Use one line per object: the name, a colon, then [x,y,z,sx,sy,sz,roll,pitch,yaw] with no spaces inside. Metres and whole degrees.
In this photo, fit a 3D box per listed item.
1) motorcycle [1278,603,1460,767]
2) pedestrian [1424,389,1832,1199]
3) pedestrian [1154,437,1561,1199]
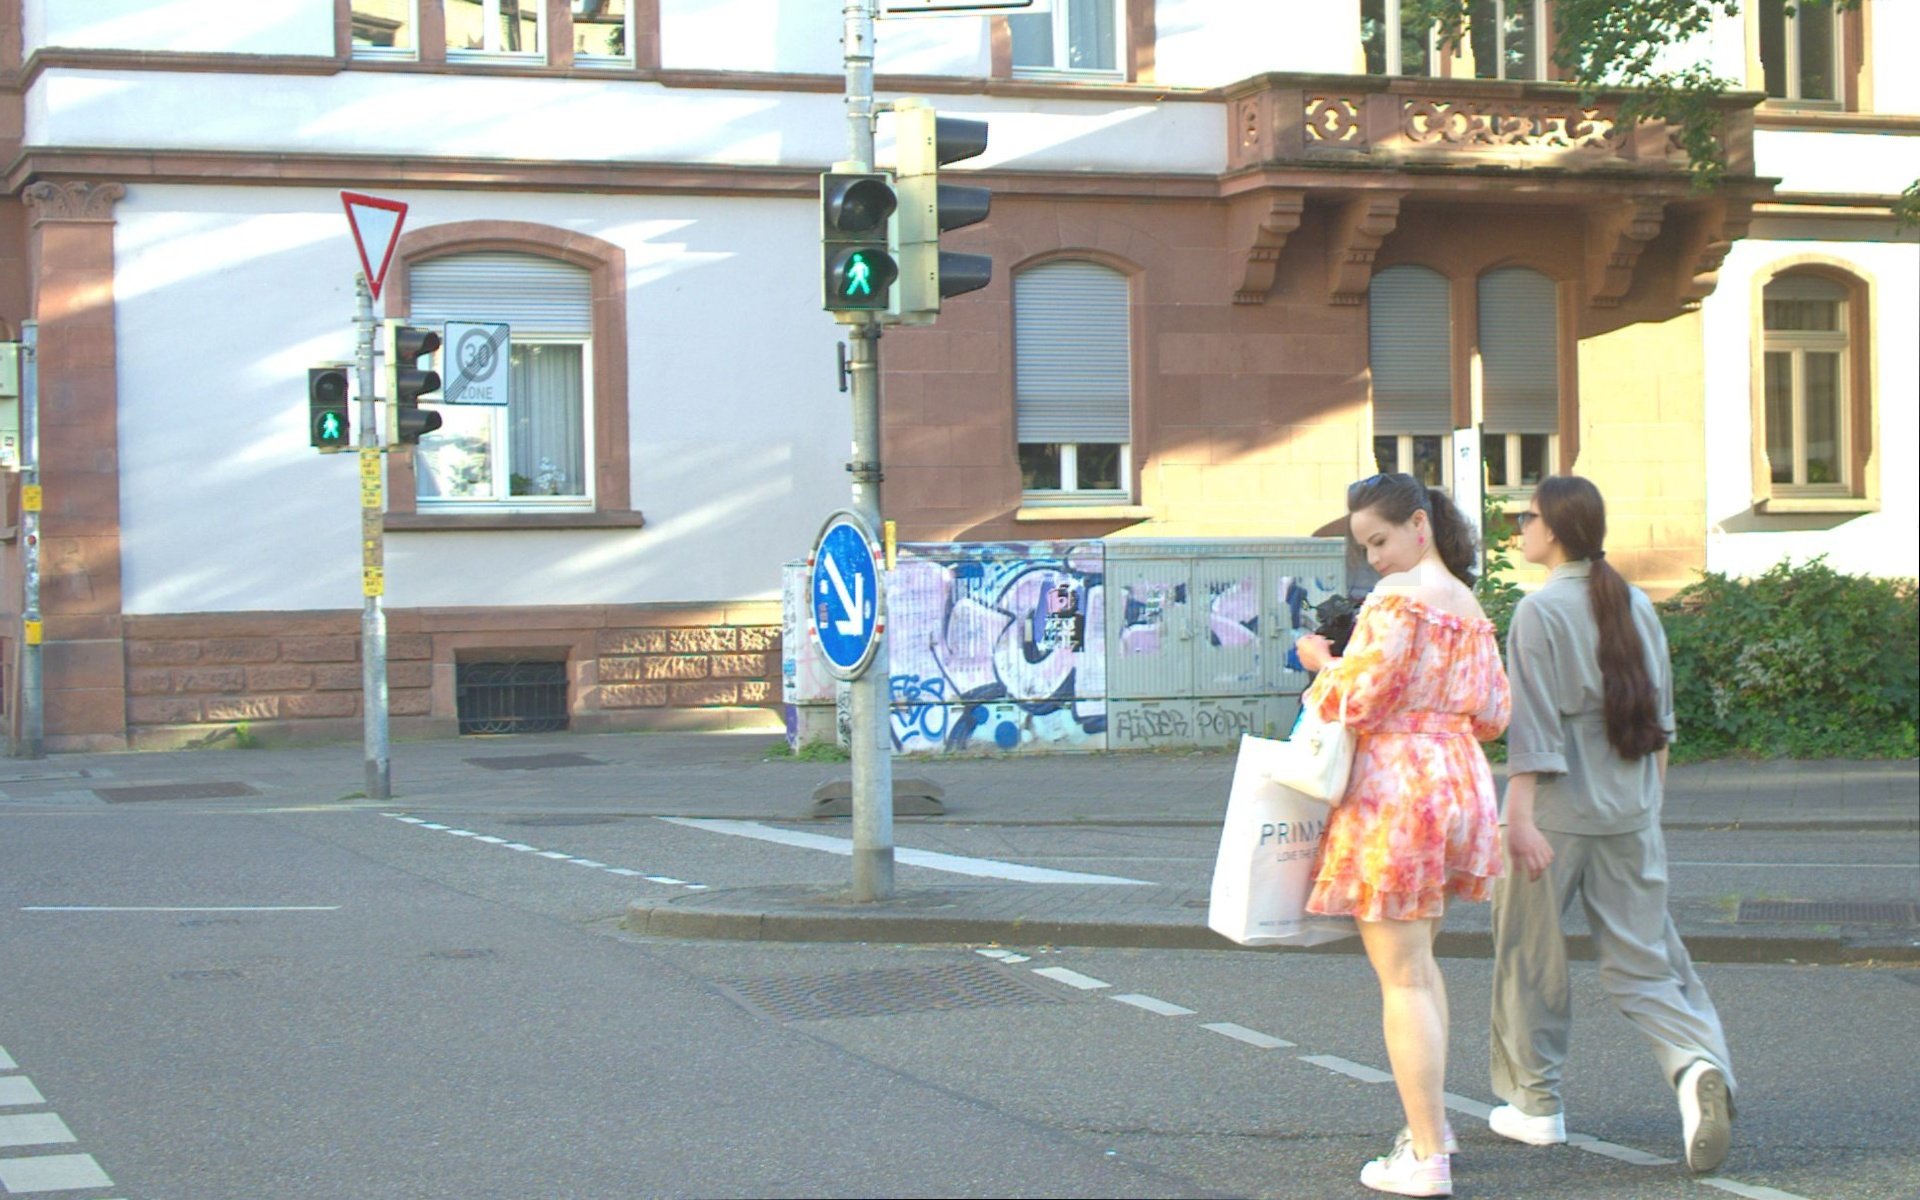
motorcycle: [2.960,0.594,25.126,0.719,1.016,2.288,-1,3,-9]
pedestrian: [1.631,0.458,8.436,0.690,1.902,0.670,0,0,-29]
pedestrian: [0.927,0.525,8.201,0.805,1.794,0.762,1,1,-5]
